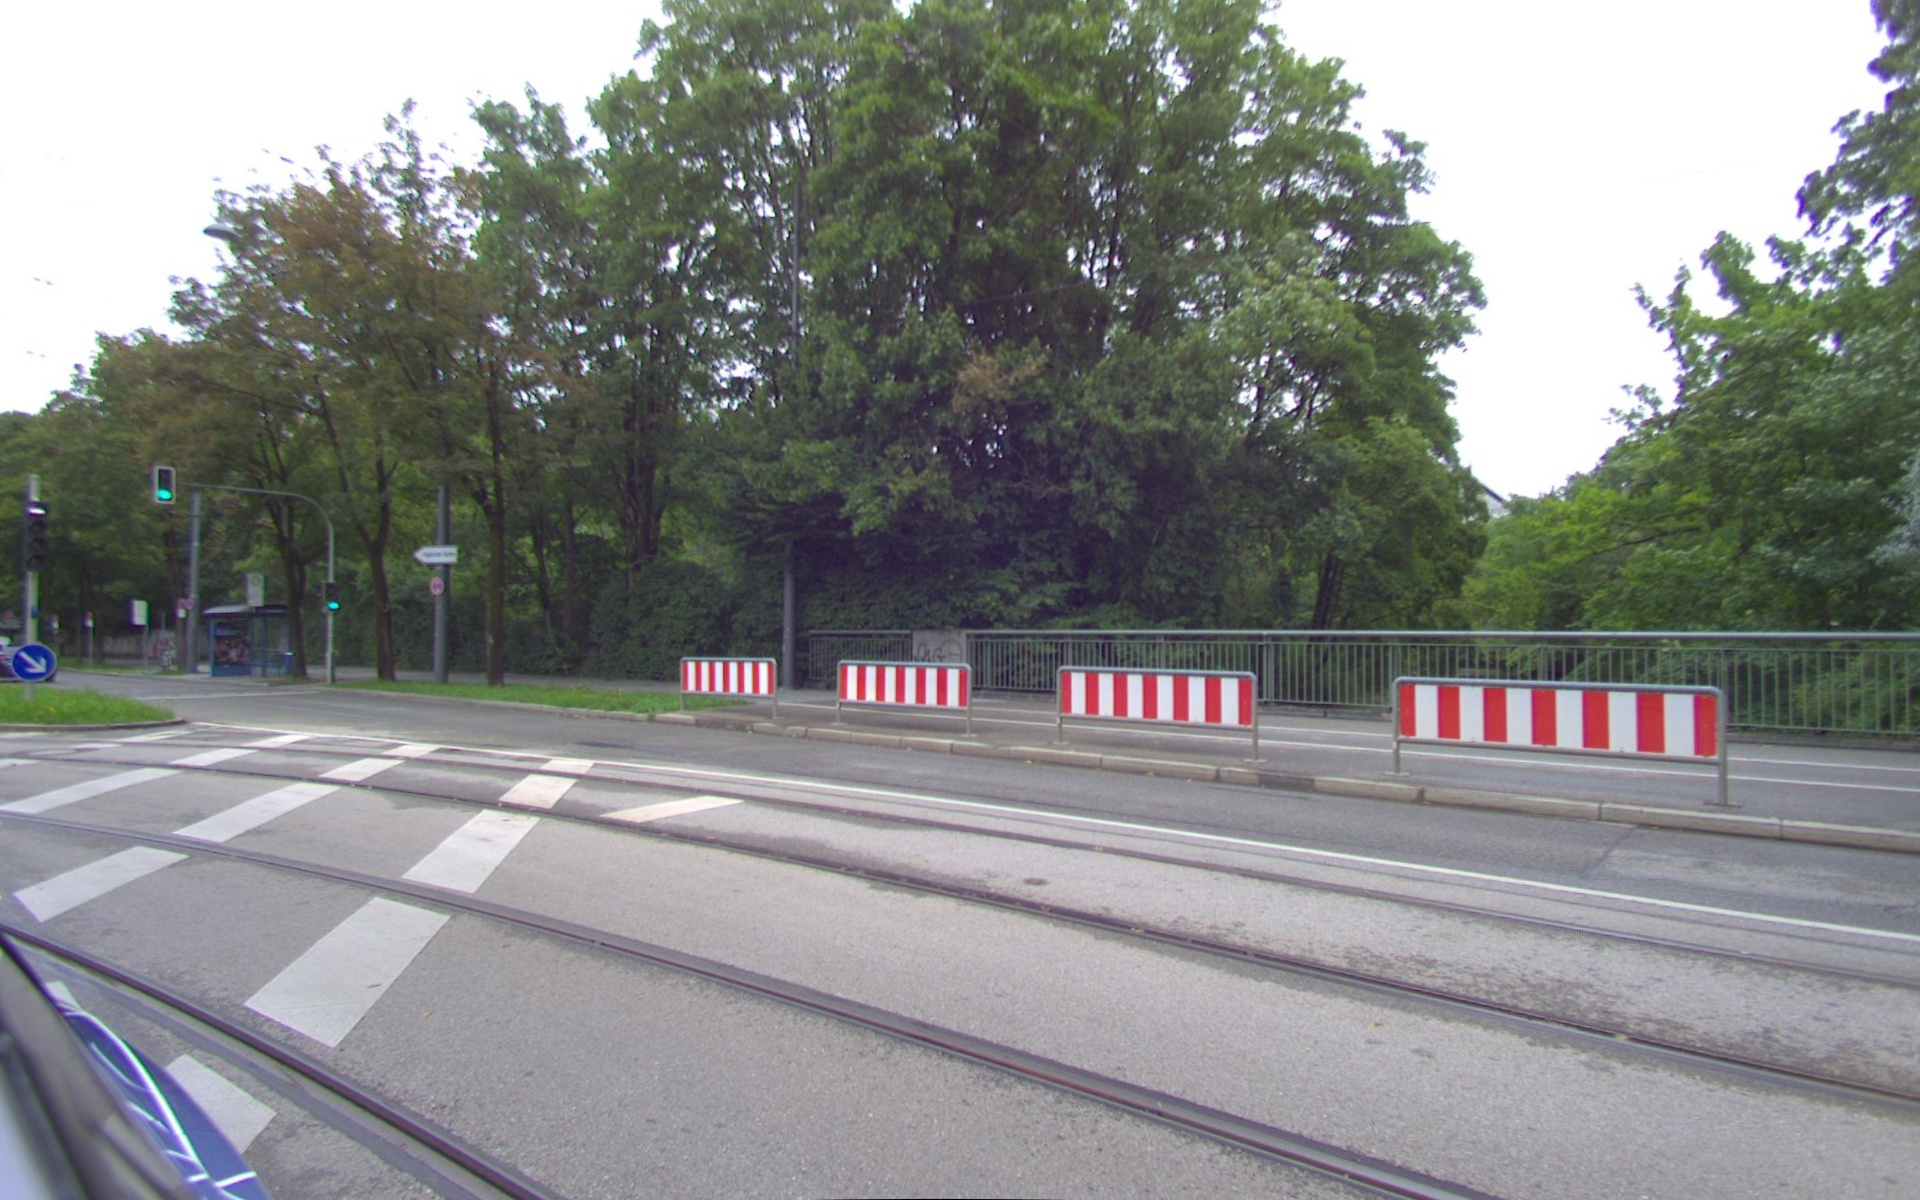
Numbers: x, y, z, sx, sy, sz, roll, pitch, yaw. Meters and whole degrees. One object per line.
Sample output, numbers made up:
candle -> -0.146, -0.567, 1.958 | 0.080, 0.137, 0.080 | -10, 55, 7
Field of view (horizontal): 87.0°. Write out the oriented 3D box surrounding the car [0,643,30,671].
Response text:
car -> -57.887, 3.439, 61.208 | 3.996, 1.552, 1.864 | -1, 0, 39

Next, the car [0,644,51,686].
car -> -33.698, 2.279, 35.642 | 4.832, 1.399, 1.608 | -2, -5, 38

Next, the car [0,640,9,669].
car -> -62.436, 3.499, 64.725 | 3.996, 1.739, 1.864 | -1, 0, 39
